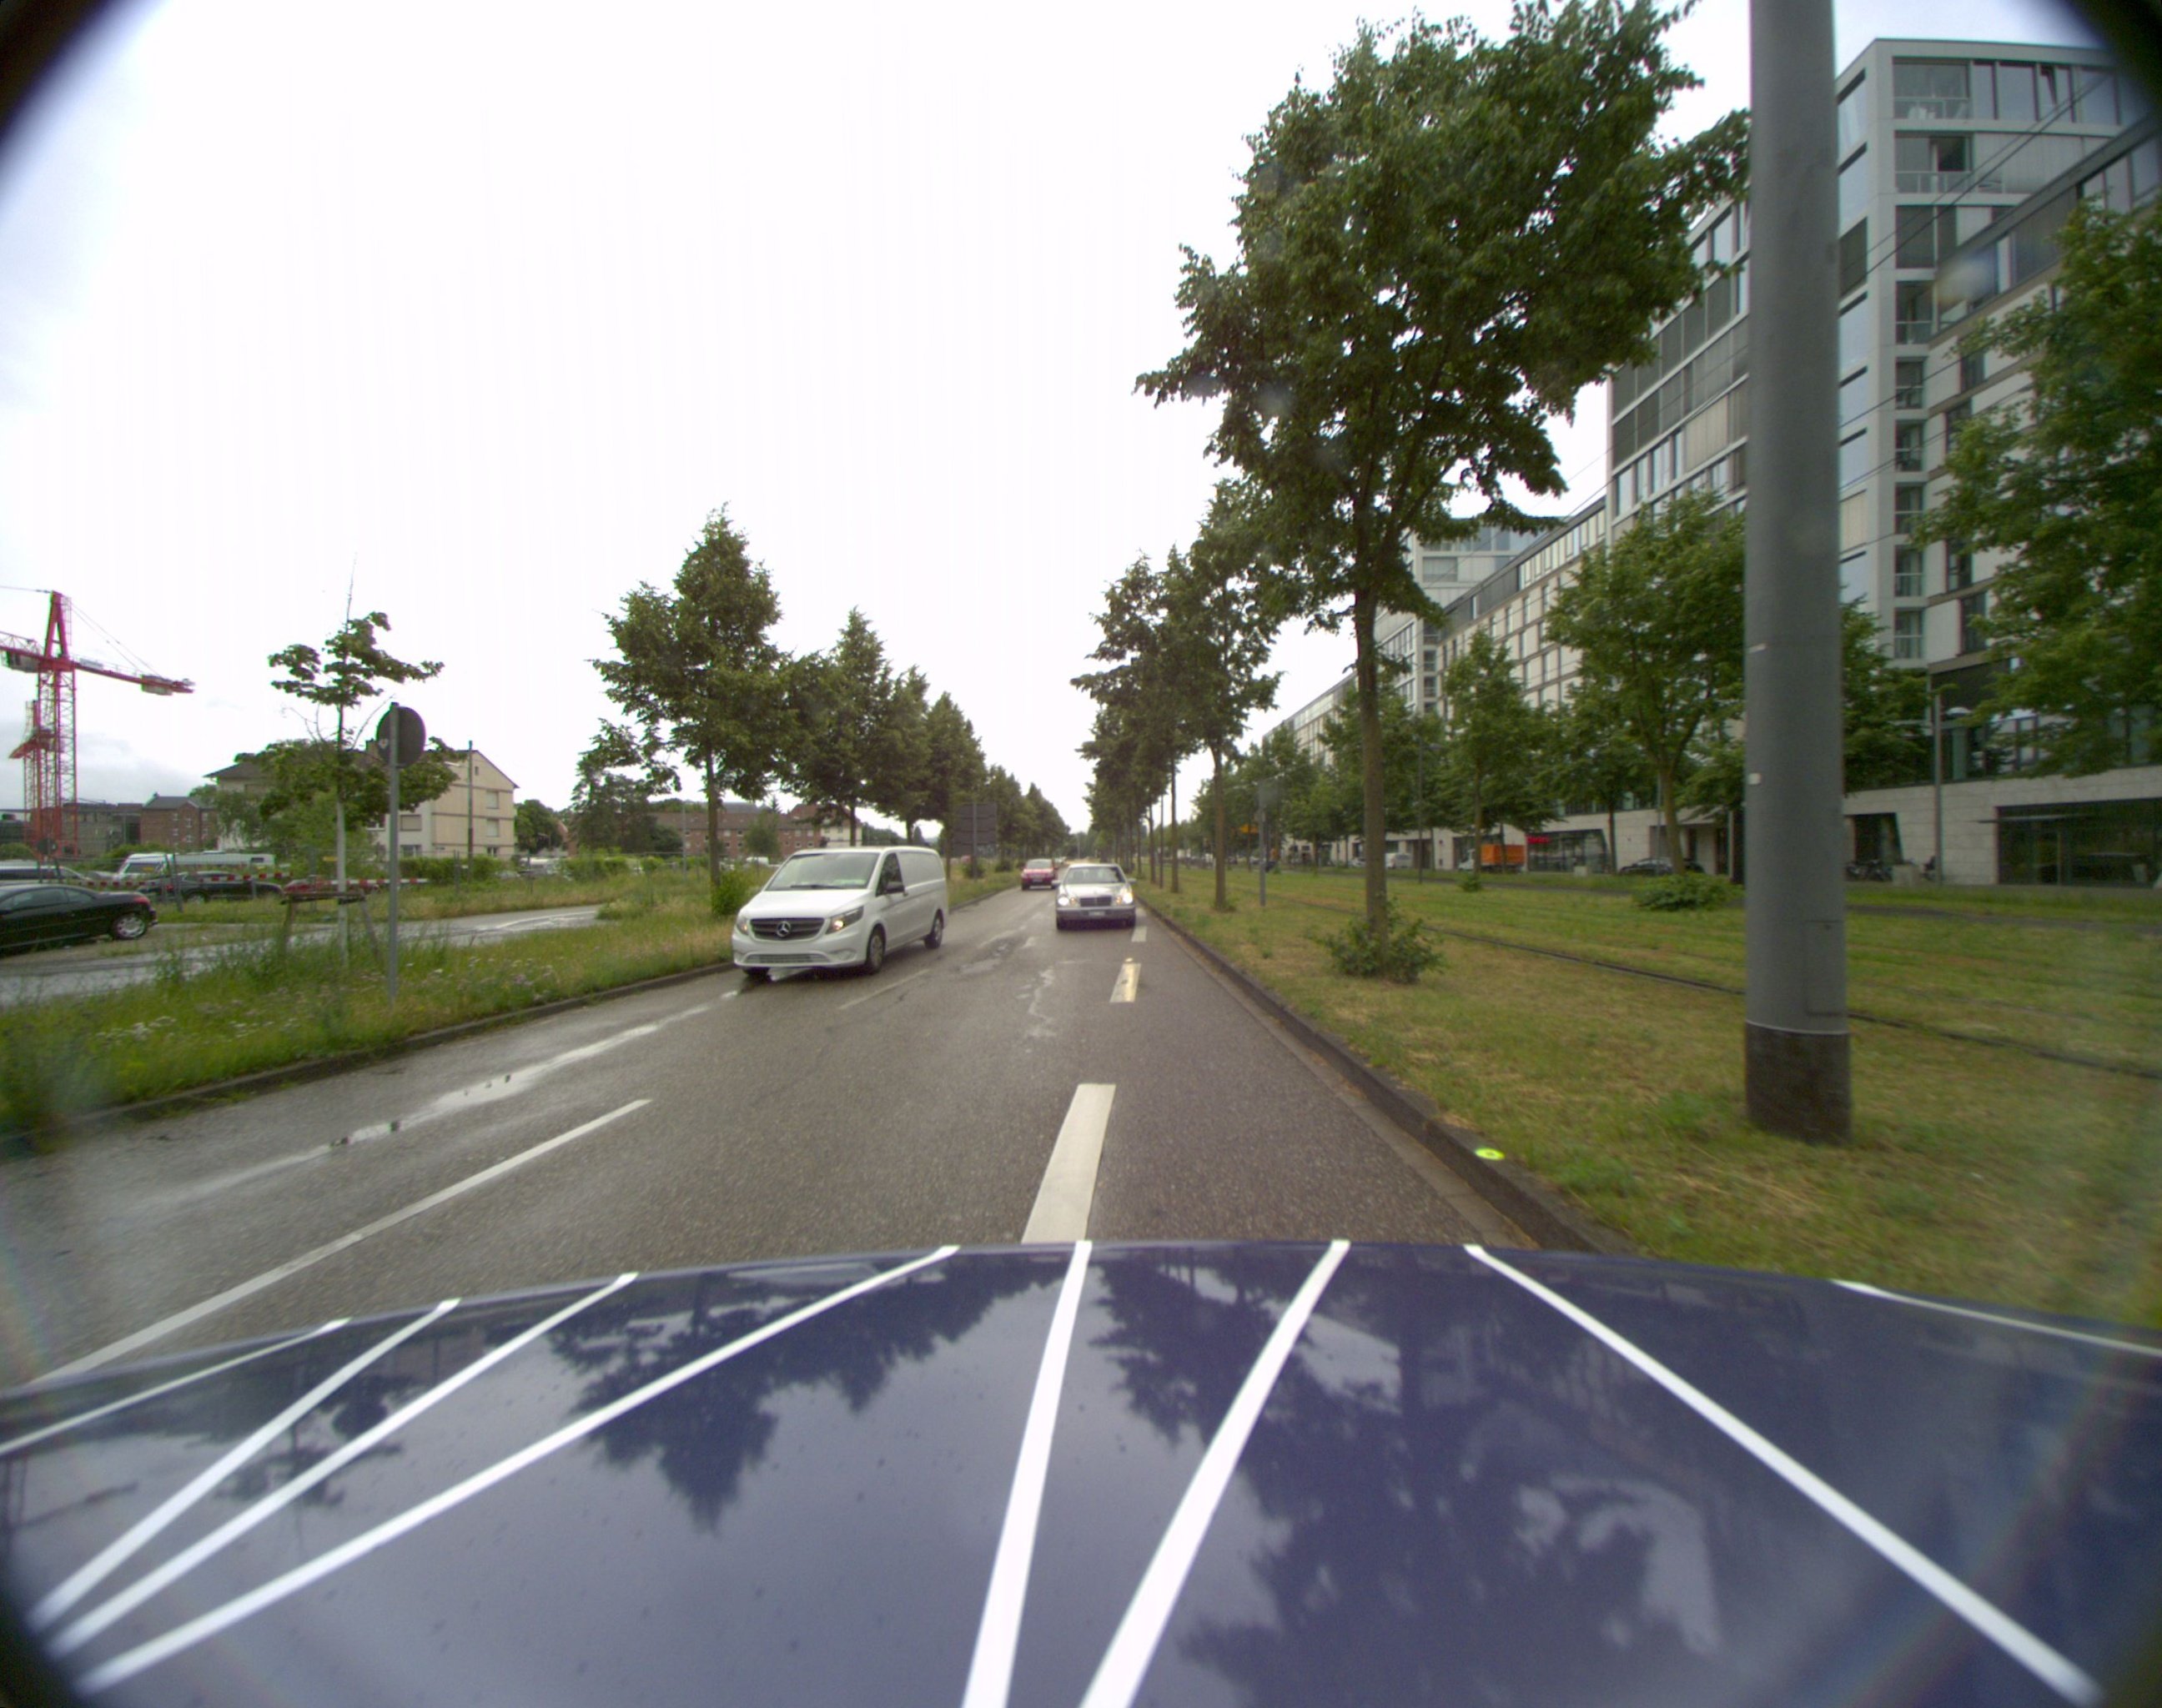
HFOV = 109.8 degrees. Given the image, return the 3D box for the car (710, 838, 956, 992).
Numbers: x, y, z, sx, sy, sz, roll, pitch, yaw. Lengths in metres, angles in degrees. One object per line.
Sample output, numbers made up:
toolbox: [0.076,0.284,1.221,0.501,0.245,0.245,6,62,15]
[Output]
car: [-3.633,0.797,12.358,1.971,1.968,5.093,-1,0,4]

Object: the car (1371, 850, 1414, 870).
car: [29.787,0.569,72.795,1.998,1.841,5.164,-1,0,0]

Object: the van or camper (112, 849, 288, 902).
van or camper: [-54.567,1.250,47.396,2.914,2.976,6.777,-1,0,1]

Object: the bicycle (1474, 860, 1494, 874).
bicycle: [27.715,0.905,52.284,0.600,0.939,1.758,-1,0,4]

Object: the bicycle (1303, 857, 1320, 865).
bicycle: [29.817,0.927,98.453,1.983,1.028,0.696,-1,0,2]

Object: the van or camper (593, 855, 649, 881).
van or camper: [-49.910,1.434,82.664,2.314,2.673,6.395,-1,0,-2]

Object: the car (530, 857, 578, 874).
car: [-61.340,1.284,88.610,2.168,1.883,5.205,-1,0,-3]

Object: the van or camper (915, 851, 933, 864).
van or camper: [-40.039,0.831,193.844,2.343,3.017,5.515,-2,0,12]

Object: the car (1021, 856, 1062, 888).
car: [-2.082,0.937,41.277,1.799,1.602,4.246,-1,0,2]

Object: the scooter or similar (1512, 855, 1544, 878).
scooter or similar: [36.710,1.025,62.370,2.130,1.814,0.885,-1,0,-3]

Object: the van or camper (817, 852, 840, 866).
van or camper: [-45.330,0.911,136.717,2.208,2.294,6.147,-2,0,-2]

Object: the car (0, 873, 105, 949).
car: [-24.012,1.362,15.544,1.859,1.447,4.555,-1,4,6]

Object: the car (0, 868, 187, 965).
car: [-21.417,1.285,15.249,1.858,1.573,3.999,-2,5,8]

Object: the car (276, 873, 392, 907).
car: [-38.744,1.830,39.569,1.859,1.592,4.002,-1,0,6]

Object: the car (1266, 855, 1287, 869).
car: [25.118,1.010,97.816,1.998,1.647,3.701,-1,0,5]

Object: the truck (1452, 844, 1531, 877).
truck: [30.106,0.445,55.988,2.432,2.278,6.309,-1,0,1]

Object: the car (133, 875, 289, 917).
car: [-38.581,1.817,33.873,1.859,1.592,4.235,-1,0,6]

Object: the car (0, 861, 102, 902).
car: [-54.418,1.410,39.442,1.700,1.993,4.165,-1,0,2]

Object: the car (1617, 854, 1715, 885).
car: [29.044,0.733,37.886,1.859,1.456,3.988,-1,0,0]

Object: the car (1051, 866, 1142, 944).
car: [0.309,1.038,17.213,1.738,1.451,4.607,-1,0,0]

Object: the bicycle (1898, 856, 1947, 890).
bicycle: [38.728,0.865,34.994,1.571,1.529,0.607,-1,0,0]

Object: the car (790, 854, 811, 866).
car: [-51.884,1.101,140.494,2.278,2.206,4.758,-1,0,-3]

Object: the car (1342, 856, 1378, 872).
car: [29.784,1.055,81.292,2.150,1.702,4.464,-1,0,0]

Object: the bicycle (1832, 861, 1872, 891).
bicycle: [38.599,1.100,38.023,1.435,1.474,0.546,-1,0,0]
